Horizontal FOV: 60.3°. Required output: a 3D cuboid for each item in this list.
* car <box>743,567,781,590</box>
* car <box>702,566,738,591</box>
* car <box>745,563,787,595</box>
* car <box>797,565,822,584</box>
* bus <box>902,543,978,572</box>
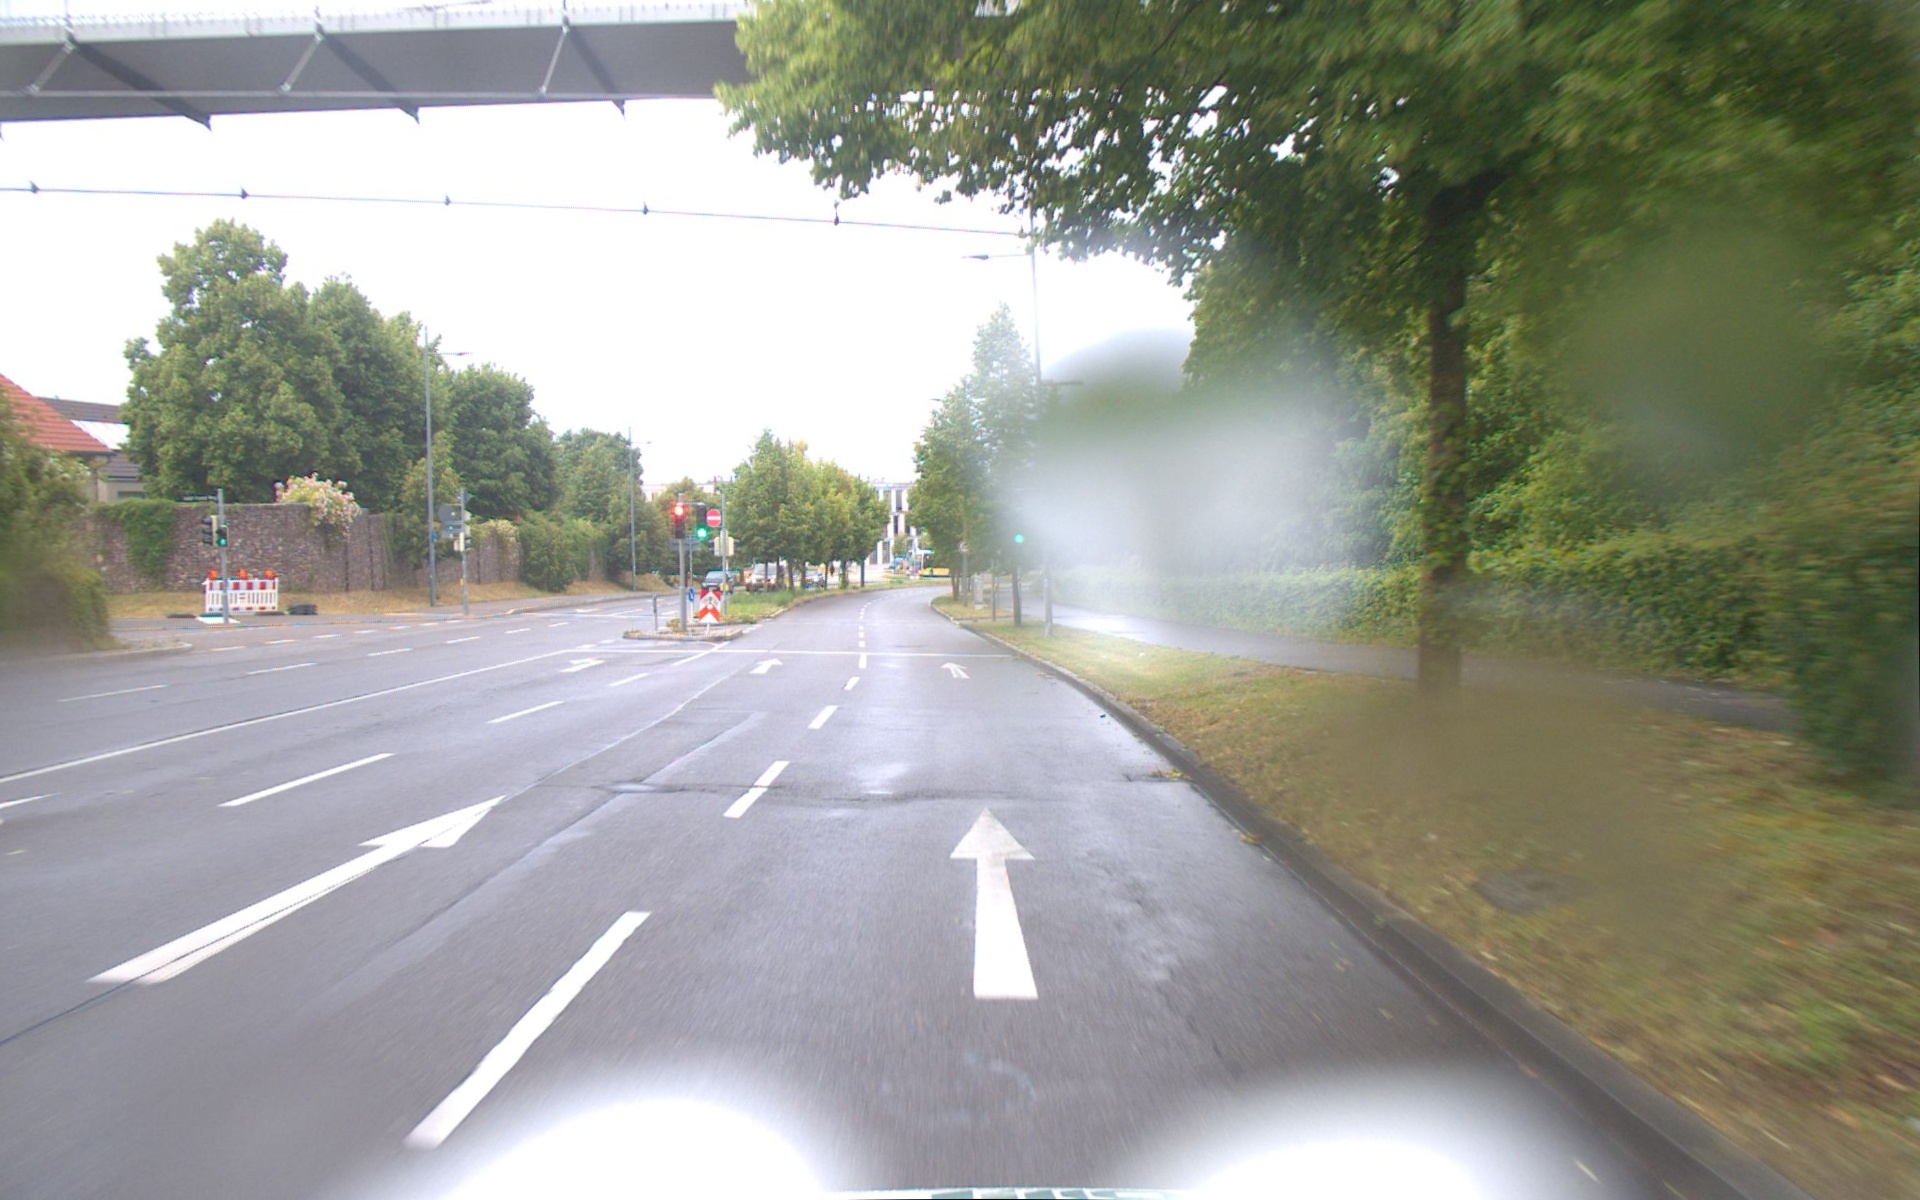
[{"bbox_3d":[-14.750,-1.601,123.471,1.841,1.623,4.770,1,1,5],"label":"car"},{"bbox_3d":[-15.383,-1.395,106.118,1.565,1.515,4.002,0,1,3],"label":"car"},{"bbox_3d":[-12.291,-1.352,105.209,1.972,1.952,5.096,0,1,1],"label":"car"},{"bbox_3d":[-12.981,-2.240,142.611,1.651,1.566,2.918,1,2,4],"label":"car"},{"bbox_3d":[-2.491,-5.574,220.717,2.729,3.415,18.217,0,0,24],"label":"bus"}]
